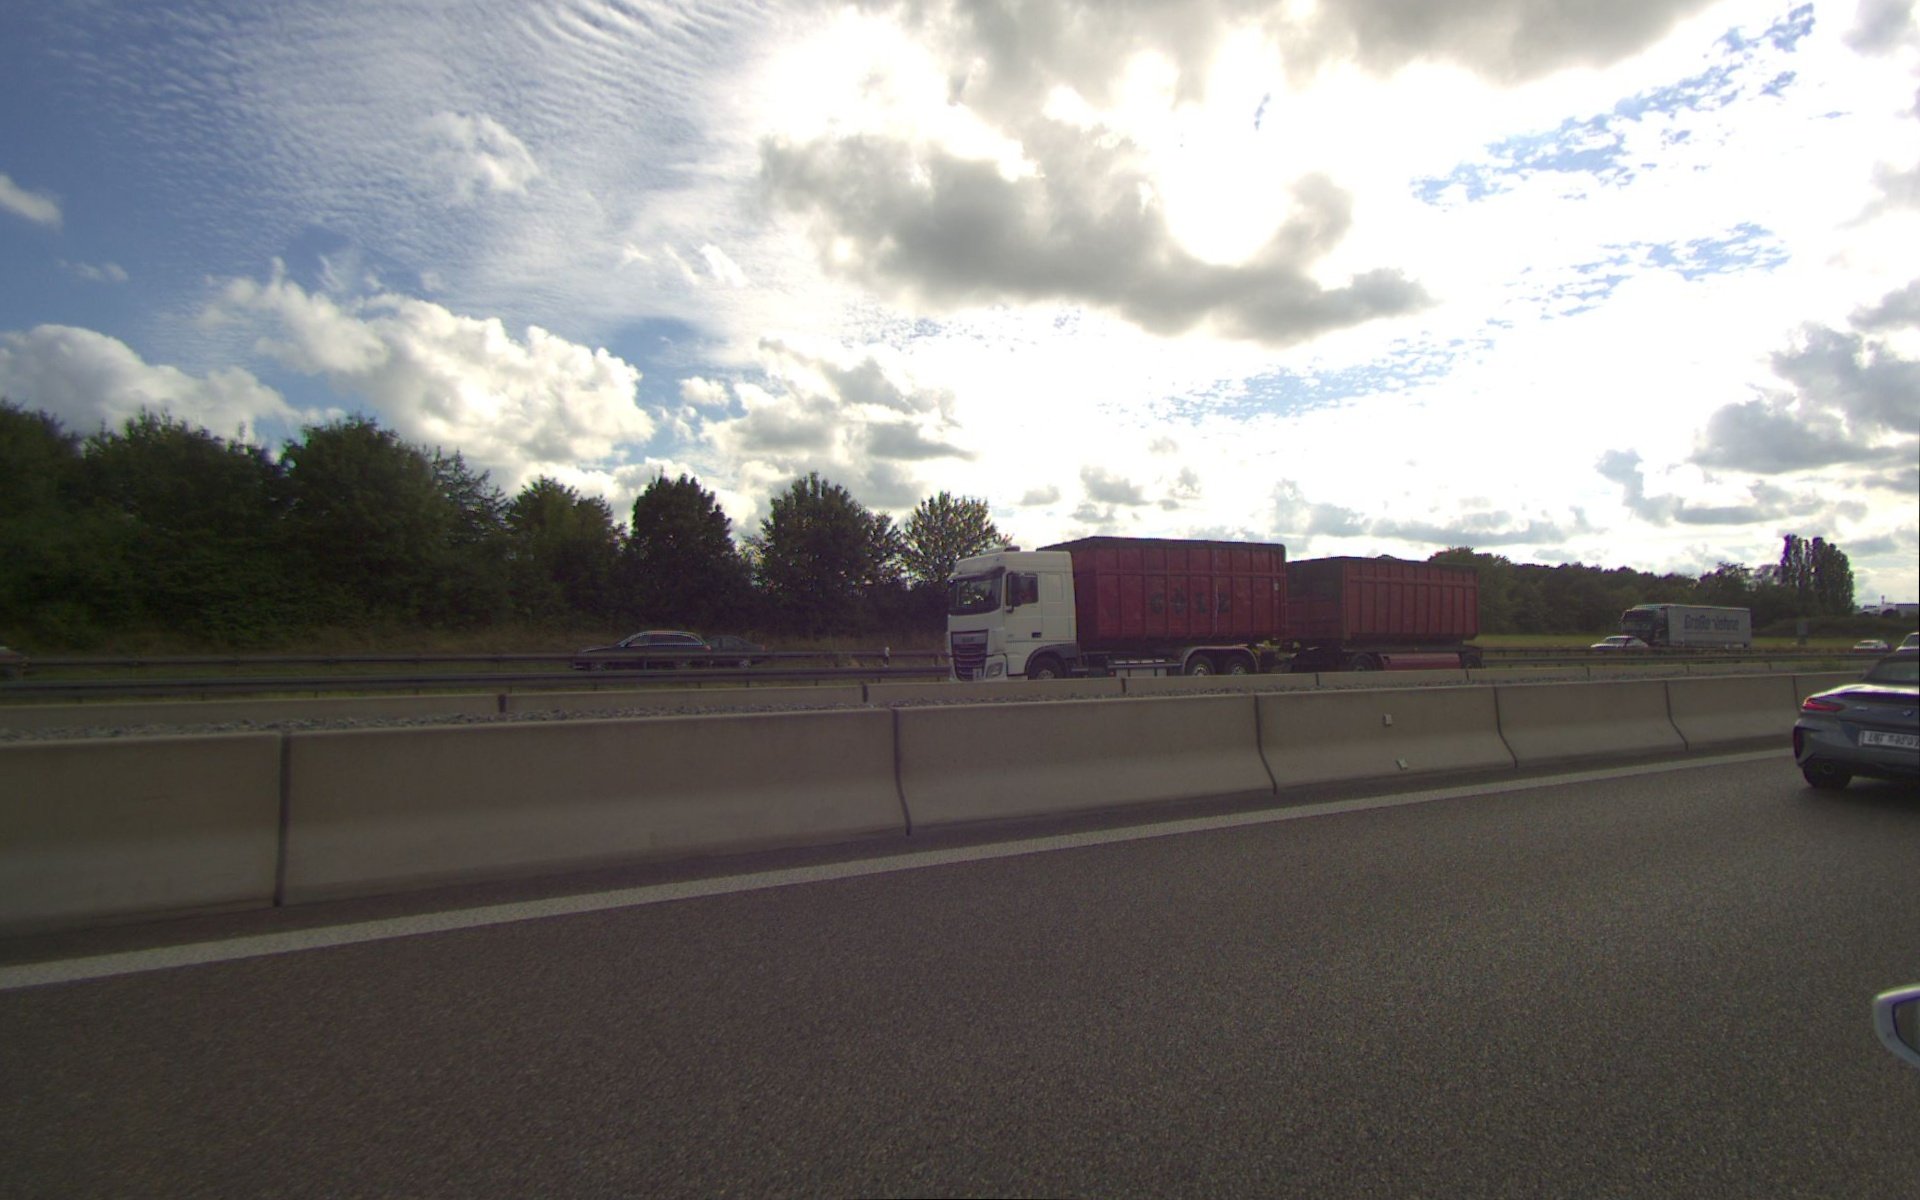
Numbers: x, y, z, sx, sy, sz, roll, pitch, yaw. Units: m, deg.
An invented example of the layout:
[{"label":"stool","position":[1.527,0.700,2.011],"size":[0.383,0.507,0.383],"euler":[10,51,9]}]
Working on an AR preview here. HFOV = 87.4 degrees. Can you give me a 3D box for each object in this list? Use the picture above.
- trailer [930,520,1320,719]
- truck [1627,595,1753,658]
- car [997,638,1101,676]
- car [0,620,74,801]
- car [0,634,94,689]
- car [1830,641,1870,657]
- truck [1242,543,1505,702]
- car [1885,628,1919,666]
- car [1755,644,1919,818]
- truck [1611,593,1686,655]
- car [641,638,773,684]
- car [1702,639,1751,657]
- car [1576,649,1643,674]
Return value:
[{"label":"trailer","position":[4.558,0.543,25.969],"size":[10.532,4.345,3.031],"euler":[1,-1,-31]},{"label":"truck","position":[60.139,2.218,82.590],"size":[13.961,4.866,3.059],"euler":[1,-1,-30]},{"label":"car","position":[3.940,2.487,44.398],"size":[4.400,1.554,1.721],"euler":[1,-1,-30]},{"label":"car","position":[-10.363,0.903,8.056],"size":[4.589,1.524,1.680],"euler":[1,-1,-31]},{"label":"car","position":[-28.512,1.785,29.471],"size":[4.400,1.554,1.721],"euler":[1,-1,-30]},{"label":"car","position":[87.175,4.794,98.413],"size":[4.401,1.554,1.720],"euler":[2,-1,-31]},{"label":"truck","position":[12.840,0.723,30.909],"size":[8.489,4.345,3.032],"euler":[1,-1,-31]},{"label":"car","position":[41.299,1.994,42.634],"size":[4.886,1.552,1.754],"euler":[1,-1,-31]},{"label":"car","position":[9.628,1.109,9.356],"size":[4.884,1.320,1.864],"euler":[1,-1,-30]},{"label":"truck","position":[54.259,1.864,79.144],"size":[5.011,4.720,3.032],"euler":[1,-1,-29]},{"label":"car","position":[-9.244,2.196,36.787],"size":[4.401,1.554,1.720],"euler":[2,-1,-31]},{"label":"car","position":[59.079,3.650,77.373],"size":[4.064,1.330,1.601],"euler":[1,-1,-30]},{"label":"car","position":[40.166,3.761,62.071],"size":[4.469,1.428,1.706],"euler":[1,-1,-31]}]
